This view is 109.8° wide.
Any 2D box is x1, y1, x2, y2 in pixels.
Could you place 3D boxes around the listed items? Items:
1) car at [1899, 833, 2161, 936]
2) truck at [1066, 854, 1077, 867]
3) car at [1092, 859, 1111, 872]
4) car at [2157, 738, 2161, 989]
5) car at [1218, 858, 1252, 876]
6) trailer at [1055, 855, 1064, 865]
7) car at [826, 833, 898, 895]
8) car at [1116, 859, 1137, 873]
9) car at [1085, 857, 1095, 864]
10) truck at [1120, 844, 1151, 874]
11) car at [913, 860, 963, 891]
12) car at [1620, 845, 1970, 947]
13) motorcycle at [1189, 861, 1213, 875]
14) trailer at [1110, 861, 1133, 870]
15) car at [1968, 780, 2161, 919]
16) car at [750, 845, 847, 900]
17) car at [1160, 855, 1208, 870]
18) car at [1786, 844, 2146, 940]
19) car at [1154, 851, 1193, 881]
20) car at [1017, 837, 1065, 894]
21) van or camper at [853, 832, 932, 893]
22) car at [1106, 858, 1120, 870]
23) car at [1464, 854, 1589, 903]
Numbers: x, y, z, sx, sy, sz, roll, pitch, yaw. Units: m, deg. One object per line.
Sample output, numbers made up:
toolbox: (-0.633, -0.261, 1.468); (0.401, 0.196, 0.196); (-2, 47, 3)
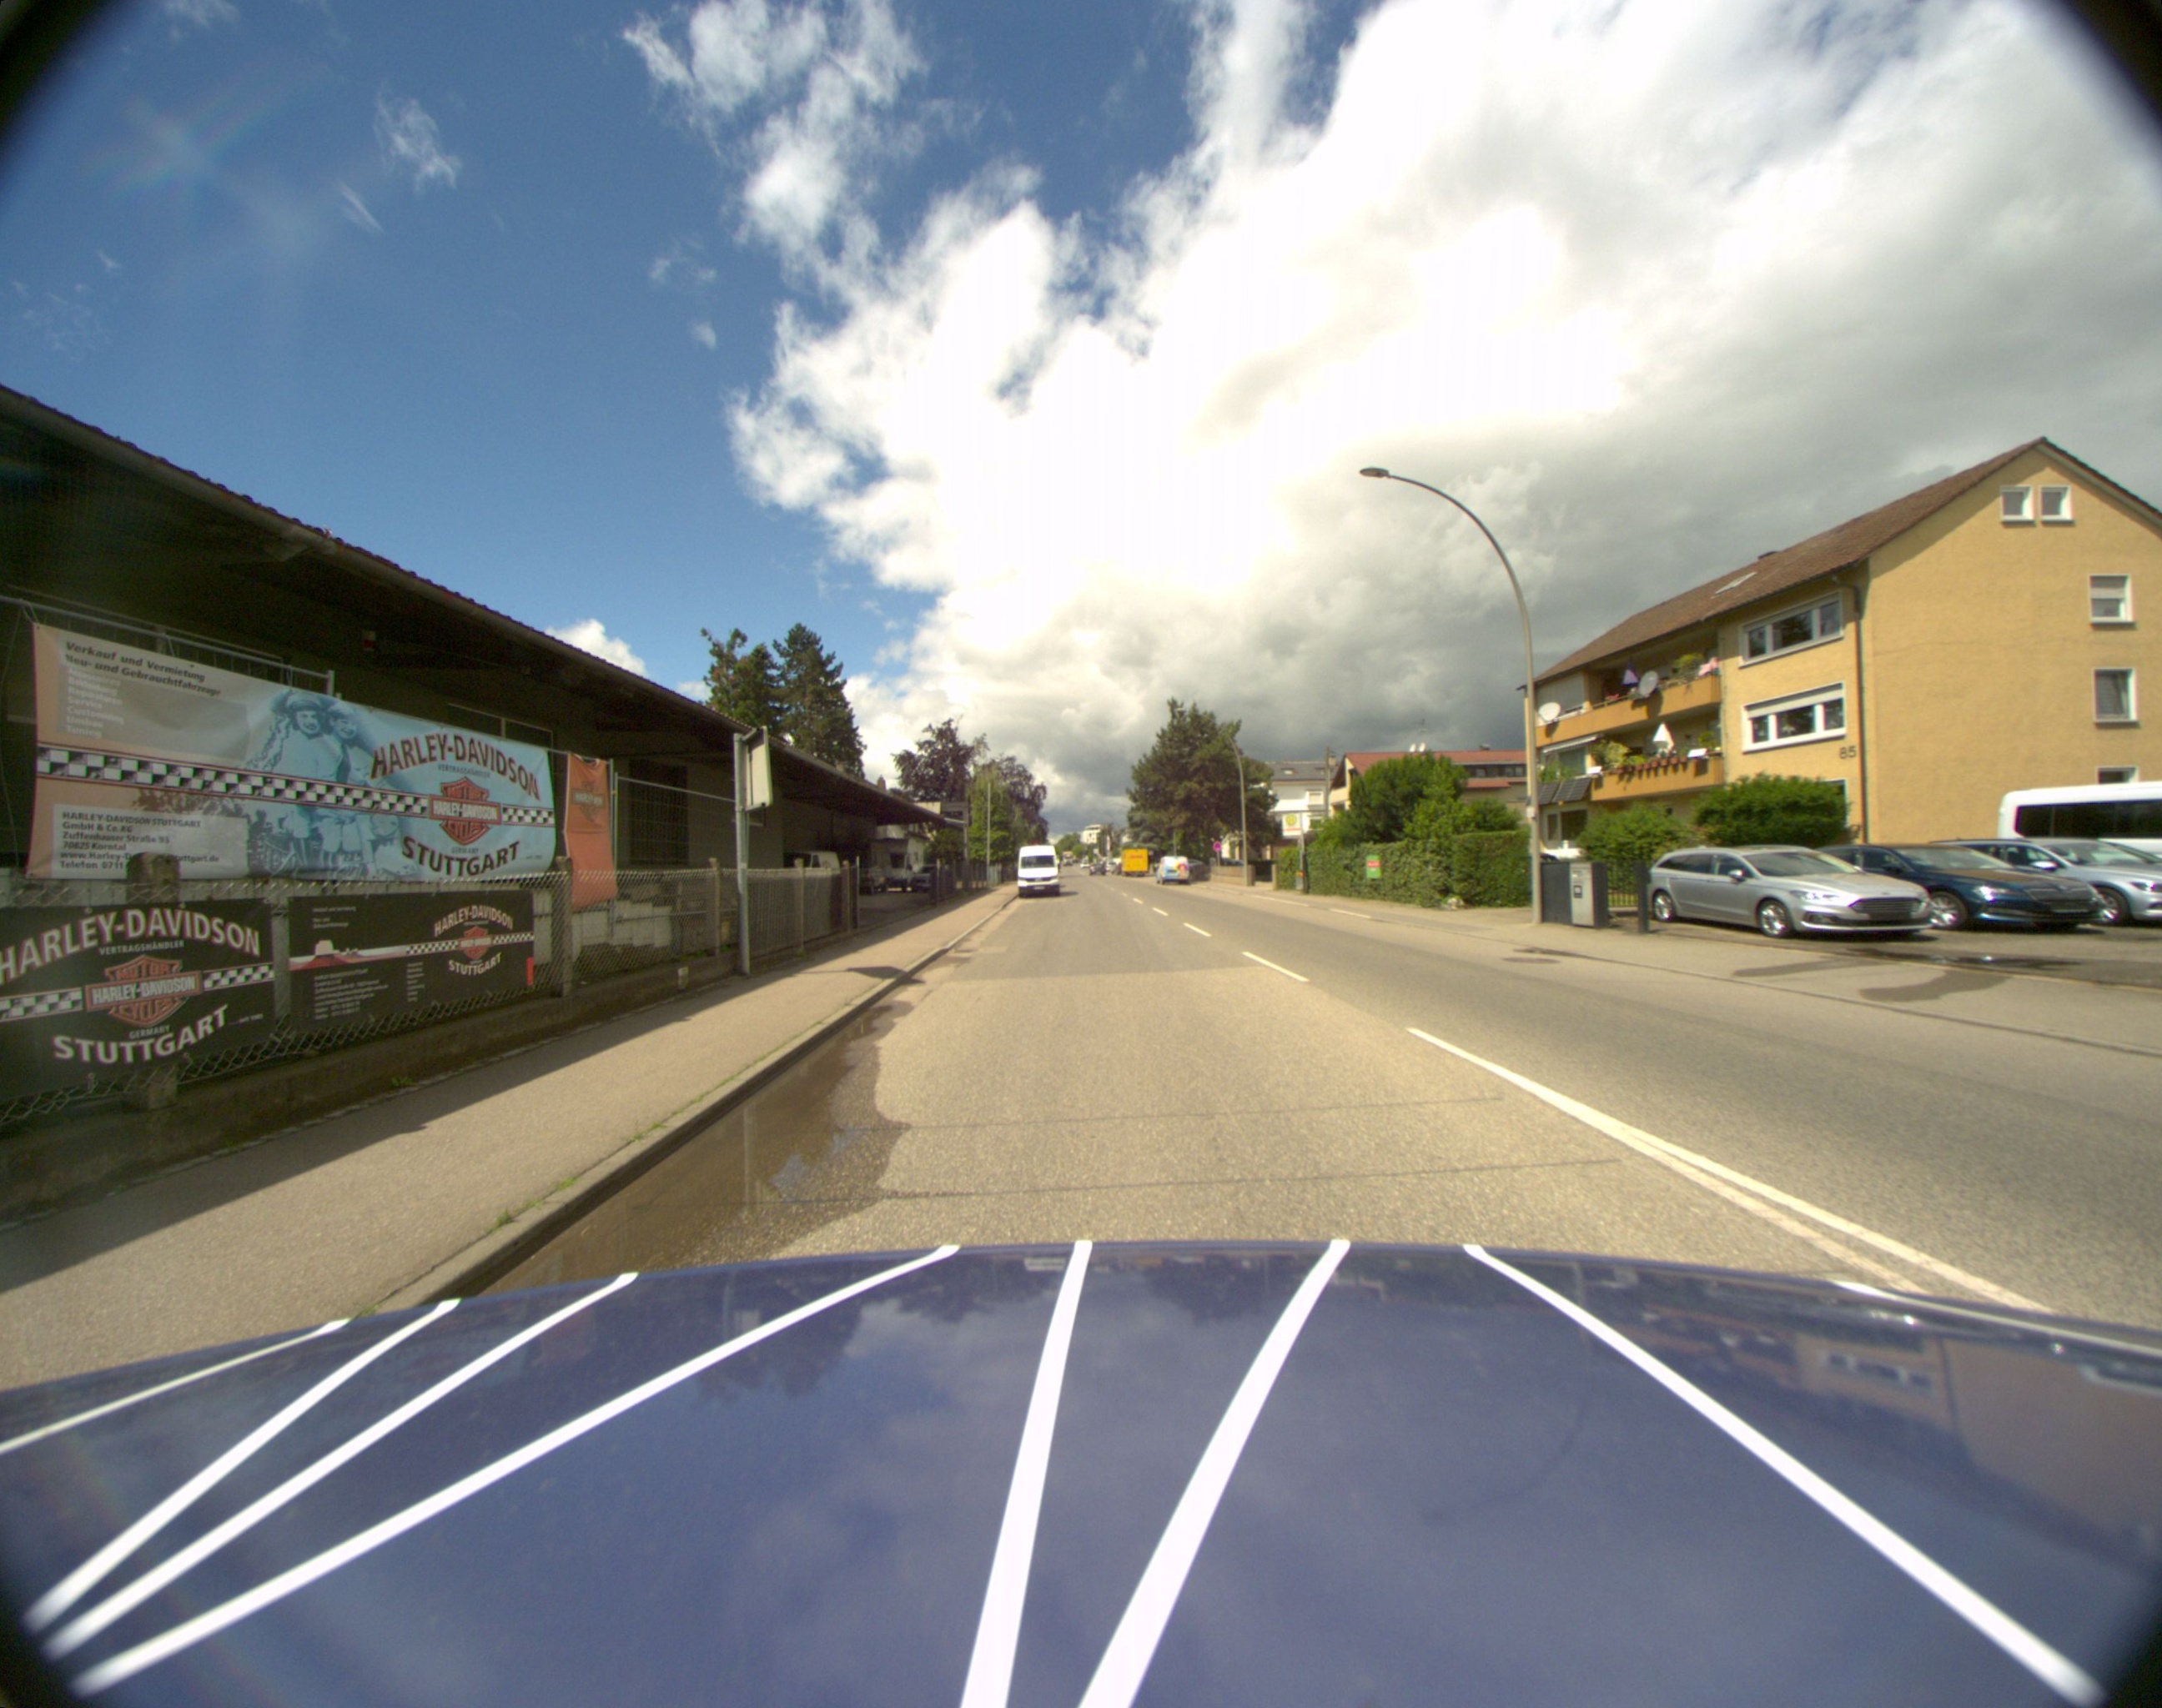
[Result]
car: (17.595, 0.449, 13.564); (1.848, 1.568, 4.334); (-1, 0, 10)
truck: (-2.704, 1.860, 208.540); (2.881, 3.289, 8.606); (-3, 0, -1)
car: (2.275, 1.308, 87.018); (1.906, 1.509, 4.318); (0, 0, -2)
car: (13.740, 0.043, 6.373); (6.053, 2.481, 2.477); (-1, 0, -1)
car: (13.169, 1.085, 65.106); (1.772, 1.534, 4.086); (-1, 0, -5)
trailer: (-4.870, 1.351, 172.607); (2.045, 2.214, 5.078); (0, 0, -1)
car: (-10.296, 0.503, 36.178); (2.023, 2.665, 5.497); (-1, -1, -3)
car: (5.268, 1.400, 88.657); (1.999, 1.444, 4.811); (2, 0, -1)
car: (1.909, 1.369, 162.626); (1.987, 1.411, 3.999); (0, 0, -4)
truck: (5.688, 0.571, 80.959); (2.330, 2.985, 7.817); (1, 0, -3)
car: (-7.462, 1.123, 40.161); (1.769, 1.480, 4.926); (-1, -1, -1)
car: (12.314, 0.625, 13.780); (1.997, 1.477, 5.344); (-1, 0, 10)
motorcycle: (10.063, 1.200, 63.893); (1.872, 1.158, 0.825); (-1, 0, 15)
trailer: (5.003, 1.410, 94.966); (2.324, 0.985, 7.458); (0, 0, -1)
car: (20.443, -0.063, 13.433); (2.418, 2.480, 6.136); (1, 0, 2)
car: (-10.735, 0.702, 29.313); (1.999, 1.898, 4.853); (-1, -1, -1)
car: (11.284, 0.964, 83.426); (5.022, 1.543, 1.972); (-1, 0, -3)
car: (15.205, 0.580, 13.514); (1.848, 1.418, 4.334); (-1, 0, 10)
car: (6.162, 0.821, 51.064); (1.838, 1.842, 4.895); (2, -1, -1)
car: (-2.032, 0.559, 39.103); (2.221, 2.673, 6.656); (0, 0, -2)
van or camper: (-10.266, 0.454, 42.205); (2.889, 3.042, 6.912); (-1, 0, -3)
car: (4.659, 1.490, 112.626); (1.809, 1.666, 4.127); (1, 0, -1)
car: (14.050, 0.720, 24.288); (1.848, 1.418, 4.333); (-1, 0, 6)
